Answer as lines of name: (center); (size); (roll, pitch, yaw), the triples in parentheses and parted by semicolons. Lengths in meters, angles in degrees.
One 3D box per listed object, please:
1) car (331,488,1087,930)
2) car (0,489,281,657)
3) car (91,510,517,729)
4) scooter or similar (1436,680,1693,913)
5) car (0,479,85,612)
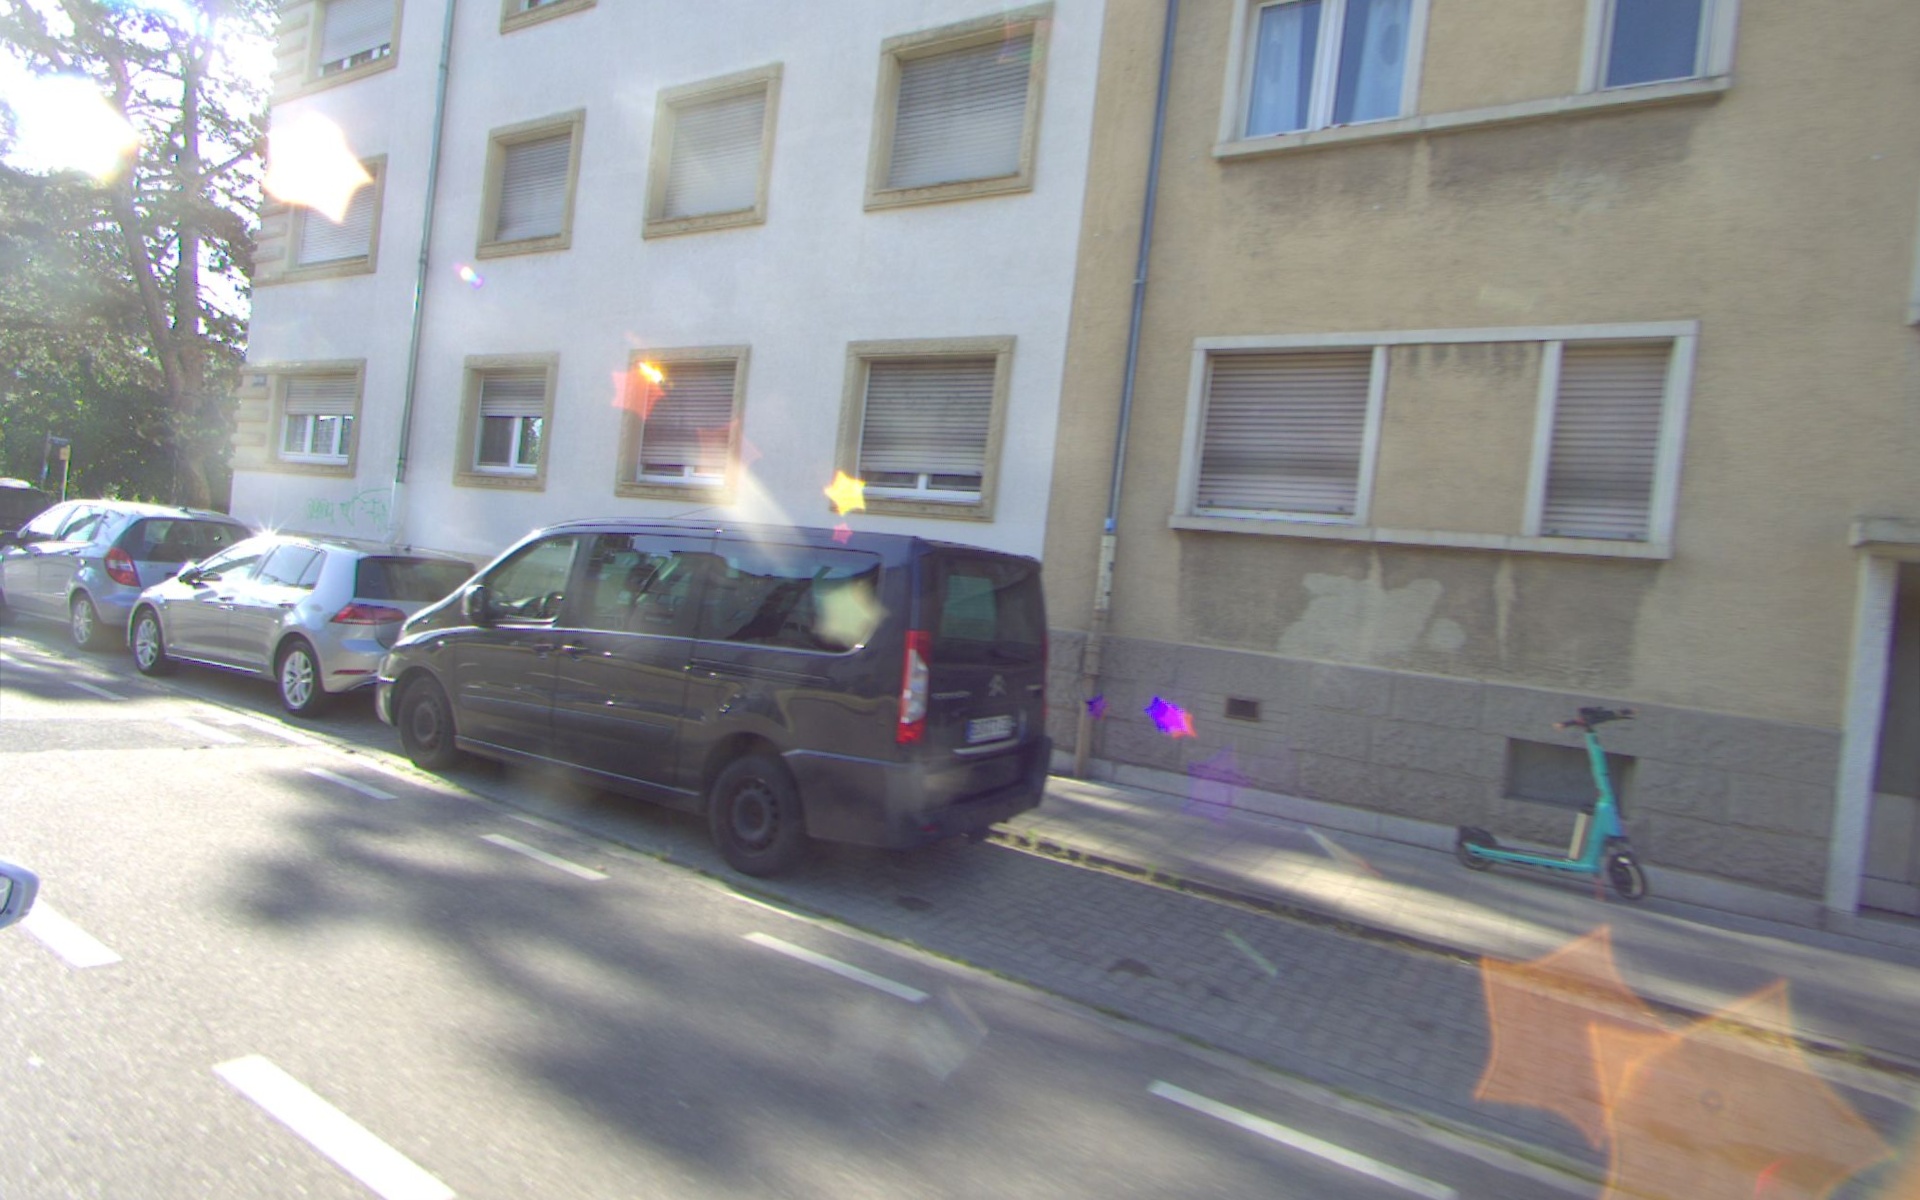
car: (-1.916, 0.404, 6.884); (5.049, 1.925, 1.913); (6, 3, 31)
car: (-9.939, -0.366, 11.828); (3.829, 1.599, 1.595); (6, 2, 29)
car: (-6.265, 0.102, 9.491); (4.165, 1.497, 1.512); (6, 1, 29)
scooter or similar: (4.014, 1.260, 6.761); (1.316, 1.256, 0.458); (7, 4, 32)
car: (-14.680, -0.945, 14.430); (4.853, 1.740, 1.879); (6, 2, 32)
